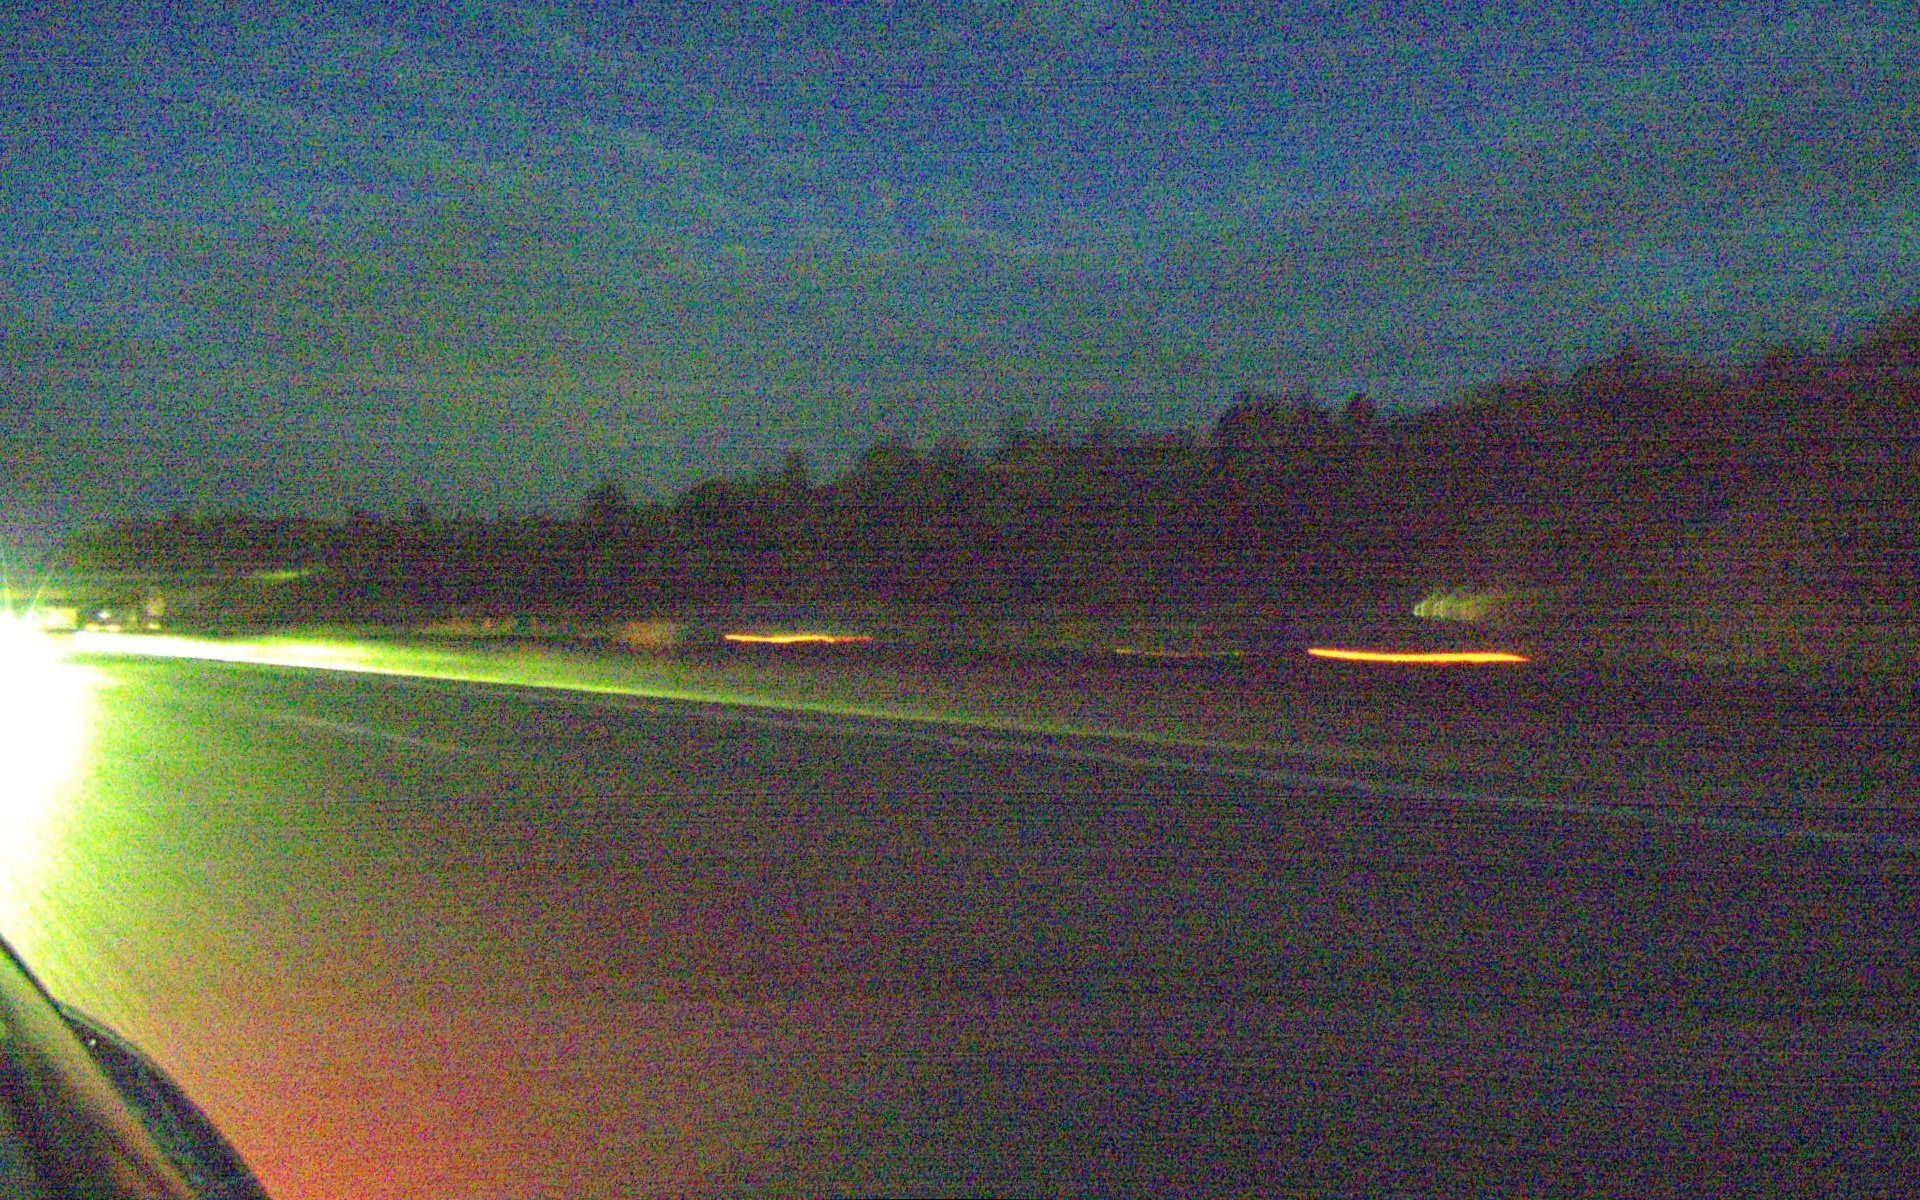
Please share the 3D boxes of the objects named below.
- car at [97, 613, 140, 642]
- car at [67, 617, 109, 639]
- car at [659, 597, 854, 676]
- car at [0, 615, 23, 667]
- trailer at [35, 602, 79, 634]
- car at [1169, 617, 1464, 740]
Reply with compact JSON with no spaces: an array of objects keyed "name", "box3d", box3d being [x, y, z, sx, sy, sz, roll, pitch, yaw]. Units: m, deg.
[{"name":"car","box3d":[-94.014,3.037,112.989,7.134,3.052,2.467,-1,-1,40]},{"name":"car","box3d":[-83.735,2.699,97.136,5.740,2.029,2.309,-1,-1,42]},{"name":"car","box3d":[-4.985,0.825,24.386,4.761,1.694,2.174,-1,0,41]},{"name":"car","box3d":[-34.398,1.426,35.275,5.940,1.734,1.973,-1,-1,42]},{"name":"trailer","box3d":[-124.398,2.474,139.346,13.036,4.265,3.023,-1,-1,42]},{"name":"car","box3d":[6.610,1.341,19.061,4.761,1.970,2.174,-1,0,41]}]
